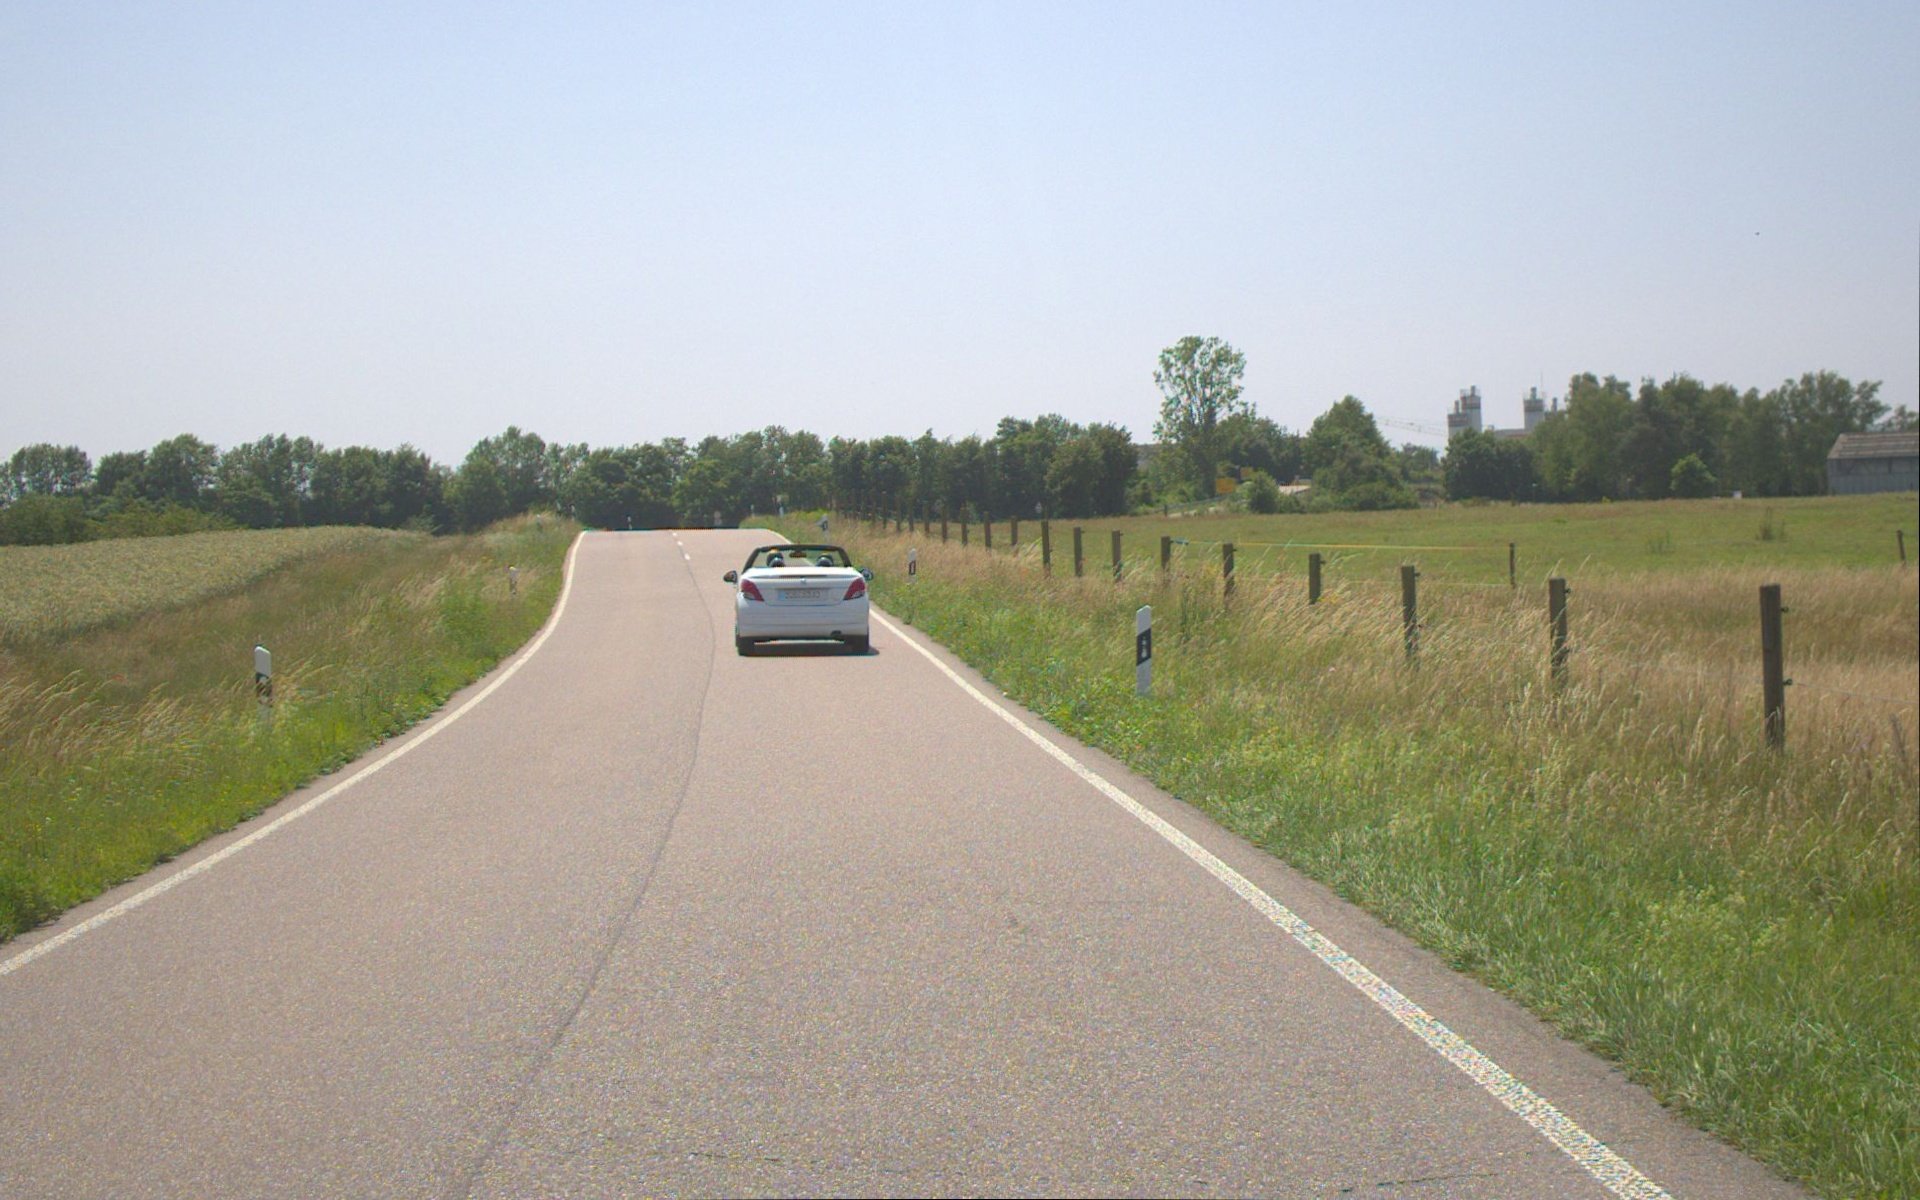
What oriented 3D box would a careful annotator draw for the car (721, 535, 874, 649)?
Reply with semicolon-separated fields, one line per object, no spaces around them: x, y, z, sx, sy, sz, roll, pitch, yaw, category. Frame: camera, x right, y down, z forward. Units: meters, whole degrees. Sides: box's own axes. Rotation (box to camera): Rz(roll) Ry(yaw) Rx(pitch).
-2.176;-0.138;45.139;1.850;1.374;4.001;0;2;-5;car
